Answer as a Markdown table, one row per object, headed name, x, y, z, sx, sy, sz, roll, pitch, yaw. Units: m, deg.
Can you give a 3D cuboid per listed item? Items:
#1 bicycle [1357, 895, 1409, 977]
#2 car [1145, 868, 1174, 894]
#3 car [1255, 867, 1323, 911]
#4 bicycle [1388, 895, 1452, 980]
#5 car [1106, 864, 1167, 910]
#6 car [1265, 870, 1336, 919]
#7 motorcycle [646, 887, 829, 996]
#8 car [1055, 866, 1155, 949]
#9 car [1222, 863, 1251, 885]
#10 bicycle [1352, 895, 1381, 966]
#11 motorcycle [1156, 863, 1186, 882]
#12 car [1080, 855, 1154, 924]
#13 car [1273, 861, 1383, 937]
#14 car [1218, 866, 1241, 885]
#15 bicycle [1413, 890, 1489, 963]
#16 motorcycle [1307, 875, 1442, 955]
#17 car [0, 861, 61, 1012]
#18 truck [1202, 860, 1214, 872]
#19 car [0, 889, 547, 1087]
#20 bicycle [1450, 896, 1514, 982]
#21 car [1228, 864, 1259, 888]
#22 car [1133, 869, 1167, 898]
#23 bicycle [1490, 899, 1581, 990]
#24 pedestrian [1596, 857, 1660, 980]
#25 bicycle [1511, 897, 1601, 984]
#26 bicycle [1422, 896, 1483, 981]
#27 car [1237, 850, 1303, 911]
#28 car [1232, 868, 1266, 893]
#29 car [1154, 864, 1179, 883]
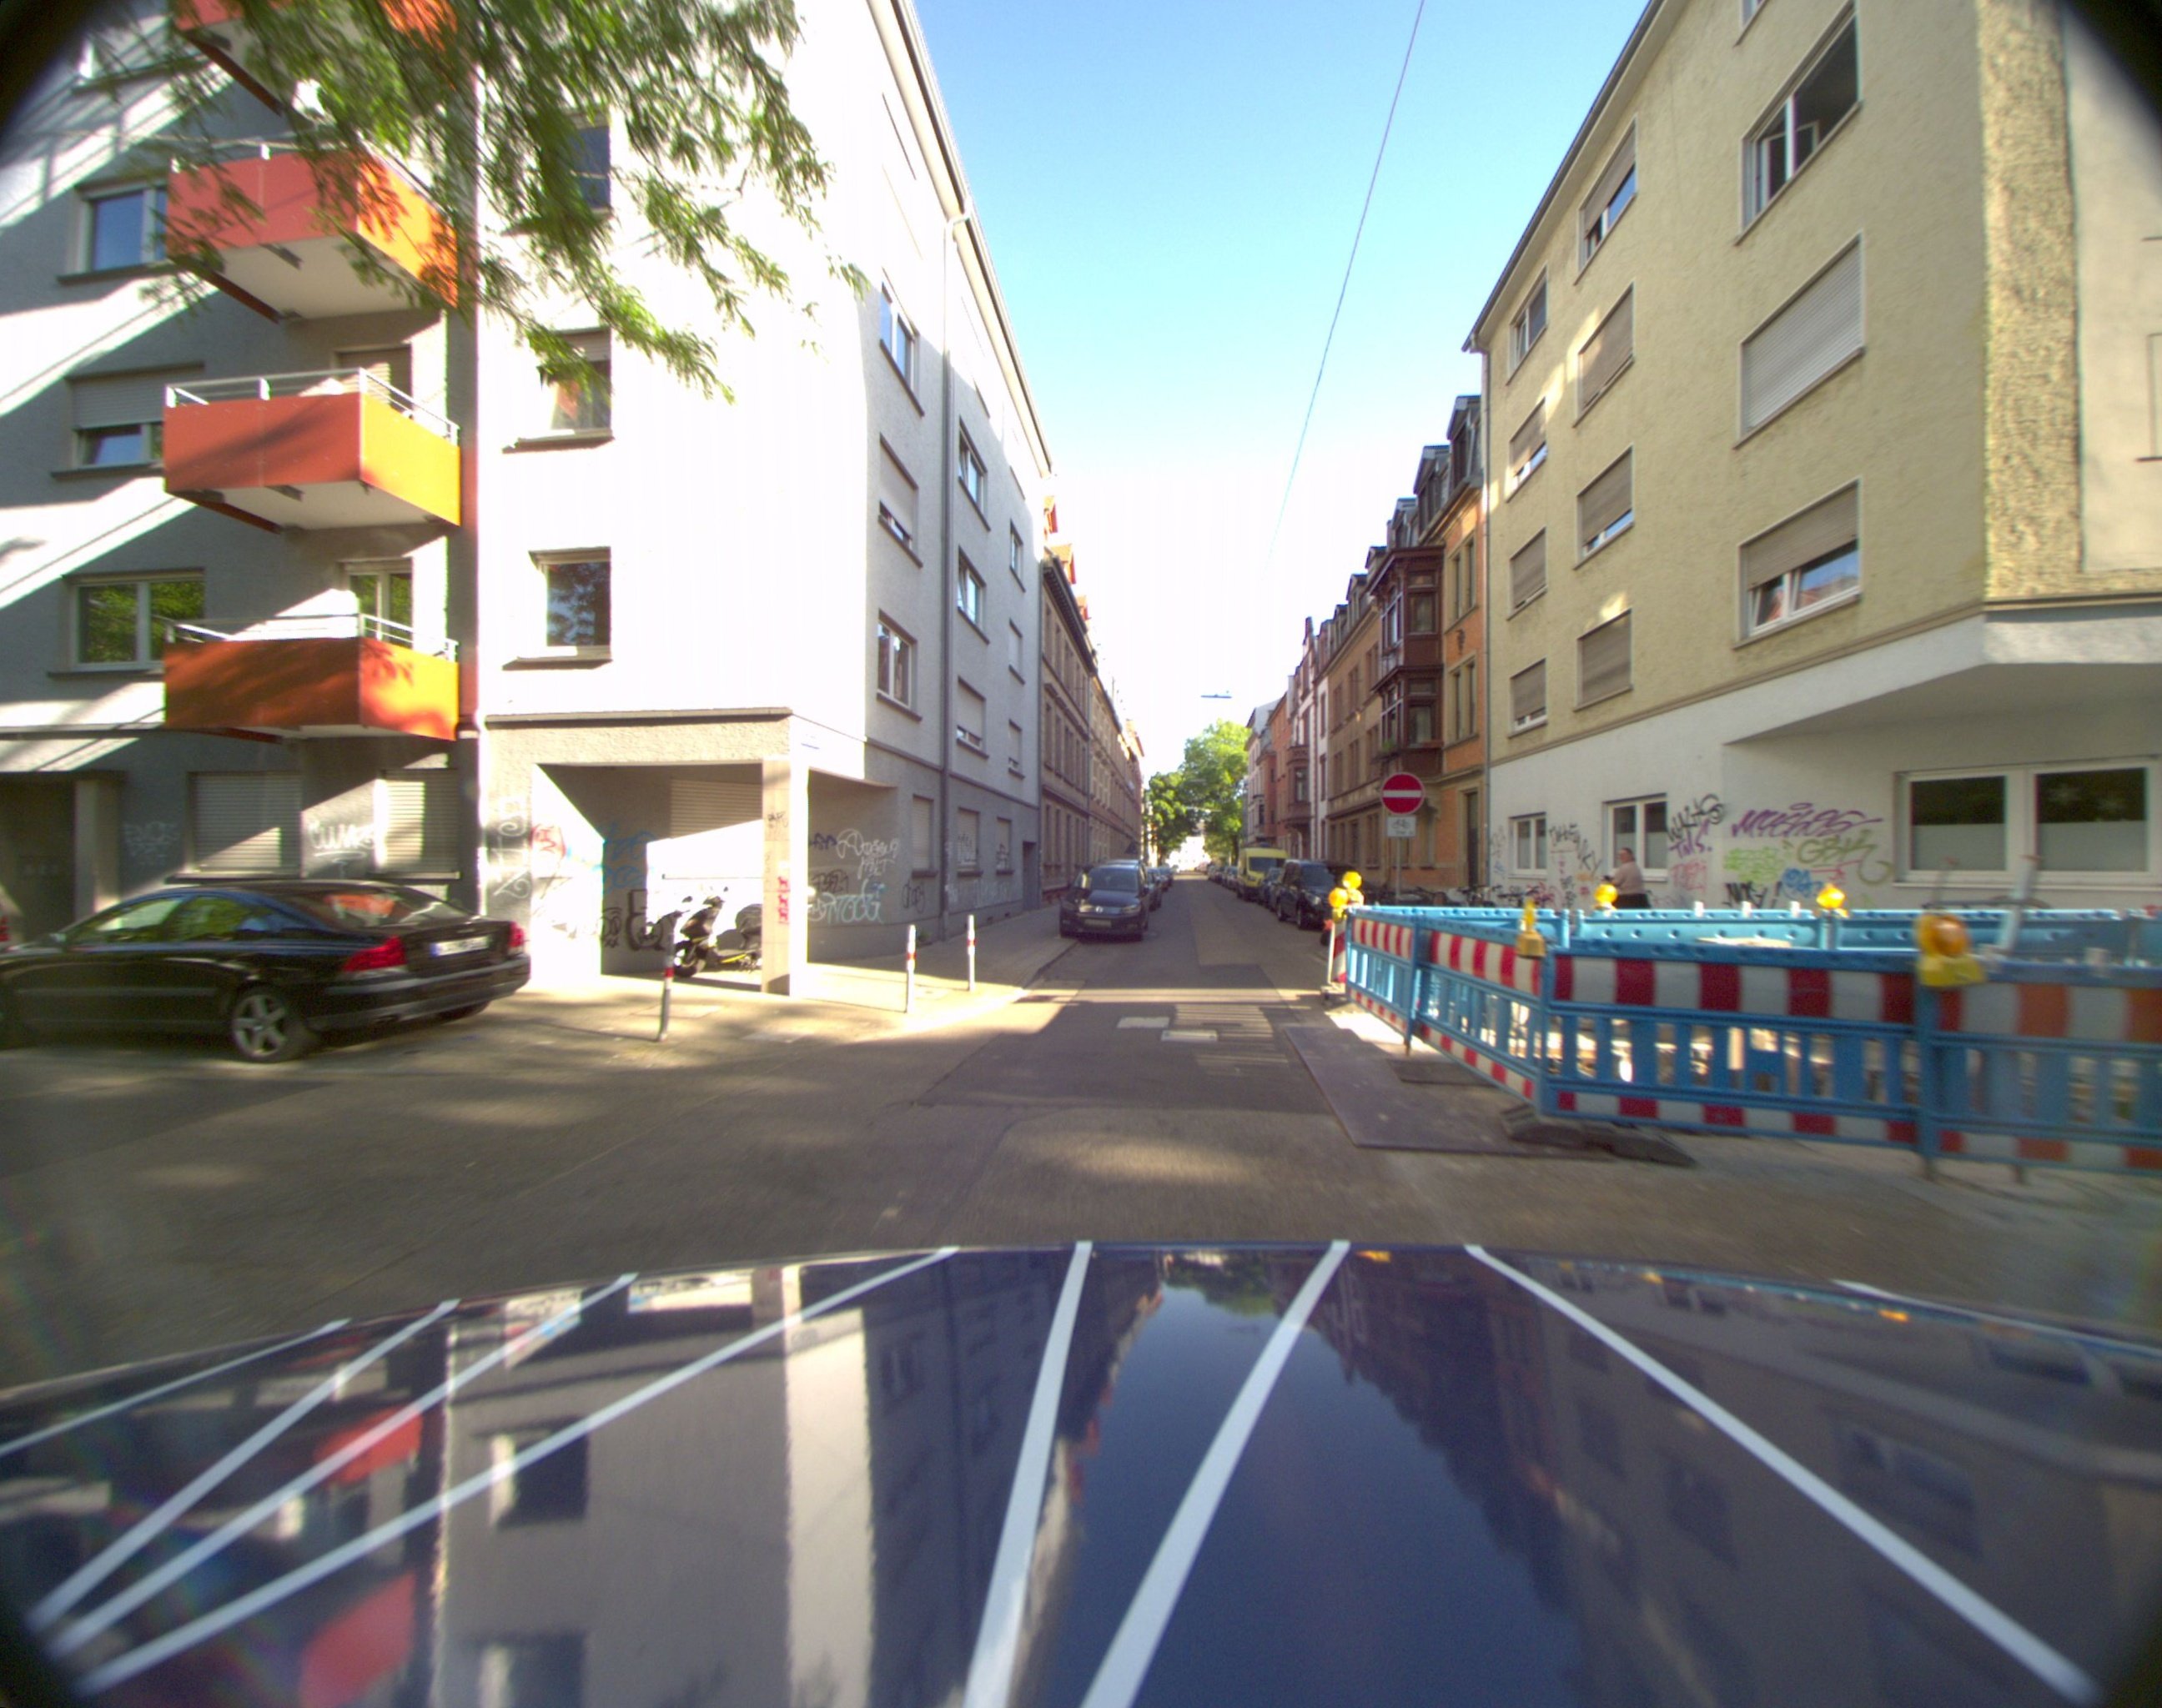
| name | x | y | z | sx | sy | sz | roll | pitch | yaw |
| --- | --- | --- | --- | --- | --- | --- | --- | --- | --- |
| bicycle | 4.849 | 1.282 | 12.264 | 0.400 | 1.220 | 1.506 | 1 | -2 | 7 |
| car | 5.096 | 1.729 | 49.230 | 1.757 | 1.437 | 4.071 | 4 | 0 | 6 |
| car | 7.936 | 1.302 | 29.323 | 1.997 | 1.542 | 4.003 | 1 | -1 | 7 |
| bicycle | 5.454 | 1.299 | 12.311 | 0.400 | 1.220 | 1.875 | 1 | -2 | 7 |
| car | 2.149 | 1.181 | 28.361 | 1.756 | 1.444 | 4.291 | 4 | 0 | 9 |
| car | 7.077 | 1.260 | 24.793 | 1.680 | 1.441 | 3.647 | -1 | -1 | 8 |
| motorcycle | -4.638 | 1.126 | 10.343 | 2.161 | 1.220 | 0.741 | -1 | 3 | -35 |
| car | 0.699 | 1.118 | 17.685 | 1.904 | 1.630 | 4.393 | 0 | 0 | 7 |
| car | 11.685 | 1.473 | 57.295 | 1.784 | 1.596 | 4.072 | 0 | -1 | 6 |
| bicycle | 5.137 | 1.351 | 13.717 | 0.376 | 1.148 | 1.293 | 0 | 0 | 16 |
| motorcycle | 7.464 | 1.537 | 62.843 | 2.228 | 1.527 | 0.889 | -2 | -1 | -18 |
| car | 1.201 | 1.004 | 22.983 | 1.757 | 1.775 | 4.727 | 3 | -1 | 8 |
| car | 6.331 | 1.076 | 20.002 | 1.822 | 1.755 | 4.337 | 0 | -1 | 5 |
| car | 13.022 | 1.885 | 66.648 | 1.764 | 1.608 | 4.192 | 0 | -1 | 8 |
| bicycle | 6.665 | 1.271 | 13.772 | 0.548 | 1.148 | 1.872 | 0 | 0 | 3 |
| motorcycle | 5.847 | 1.169 | 15.145 | 2.522 | 1.473 | 0.902 | 0 | 0 | -19 |
| car | -13.706 | 0.914 | 7.898 | 3.995 | 1.609 | 1.870 | 0 | 2 | 6 |
| truck | 29.604 | 2.793 | 177.600 | 2.394 | 2.641 | 7.098 | 0 | -1 | 6 |
| car | -7.613 | 1.070 | 6.928 | 4.356 | 1.380 | 1.851 | 0 | 0 | 6 |
| bicycle | 6.248 | 1.276 | 11.913 | 0.295 | 1.220 | 1.701 | 0 | -2 | 7 |
| car | 10.956 | 1.460 | 51.484 | 1.697 | 1.465 | 3.922 | 3 | 0 | 8 |
| car | 4.080 | 1.694 | 44.346 | 1.724 | 1.472 | 4.085 | 4 | 0 | 7 |
| bicycle | 6.839 | 1.313 | 11.544 | 0.400 | 1.220 | 2.032 | 0 | -2 | 7 |
| pedestrian | 7.900 | 0.906 | 10.992 | 0.525 | 1.730 | 0.558 | 0 | 0 | 3 |
| bicycle | 7.340 | 1.294 | 11.831 | 0.400 | 1.220 | 1.817 | 0 | -2 | 5 |
| bicycle | 5.883 | 1.299 | 12.096 | 0.364 | 1.220 | 1.554 | 1 | -2 | 7 |
| car | 8.591 | 1.150 | 35.108 | 2.179 | 2.493 | 5.882 | 3 | 0 | 7 |
| car | 10.153 | 1.572 | 46.029 | 1.621 | 1.319 | 3.615 | 3 | 0 | 7 |
| car | 6.653 | 1.500 | 58.582 | 1.780 | 1.388 | 4.321 | 0 | -1 | 8 |
